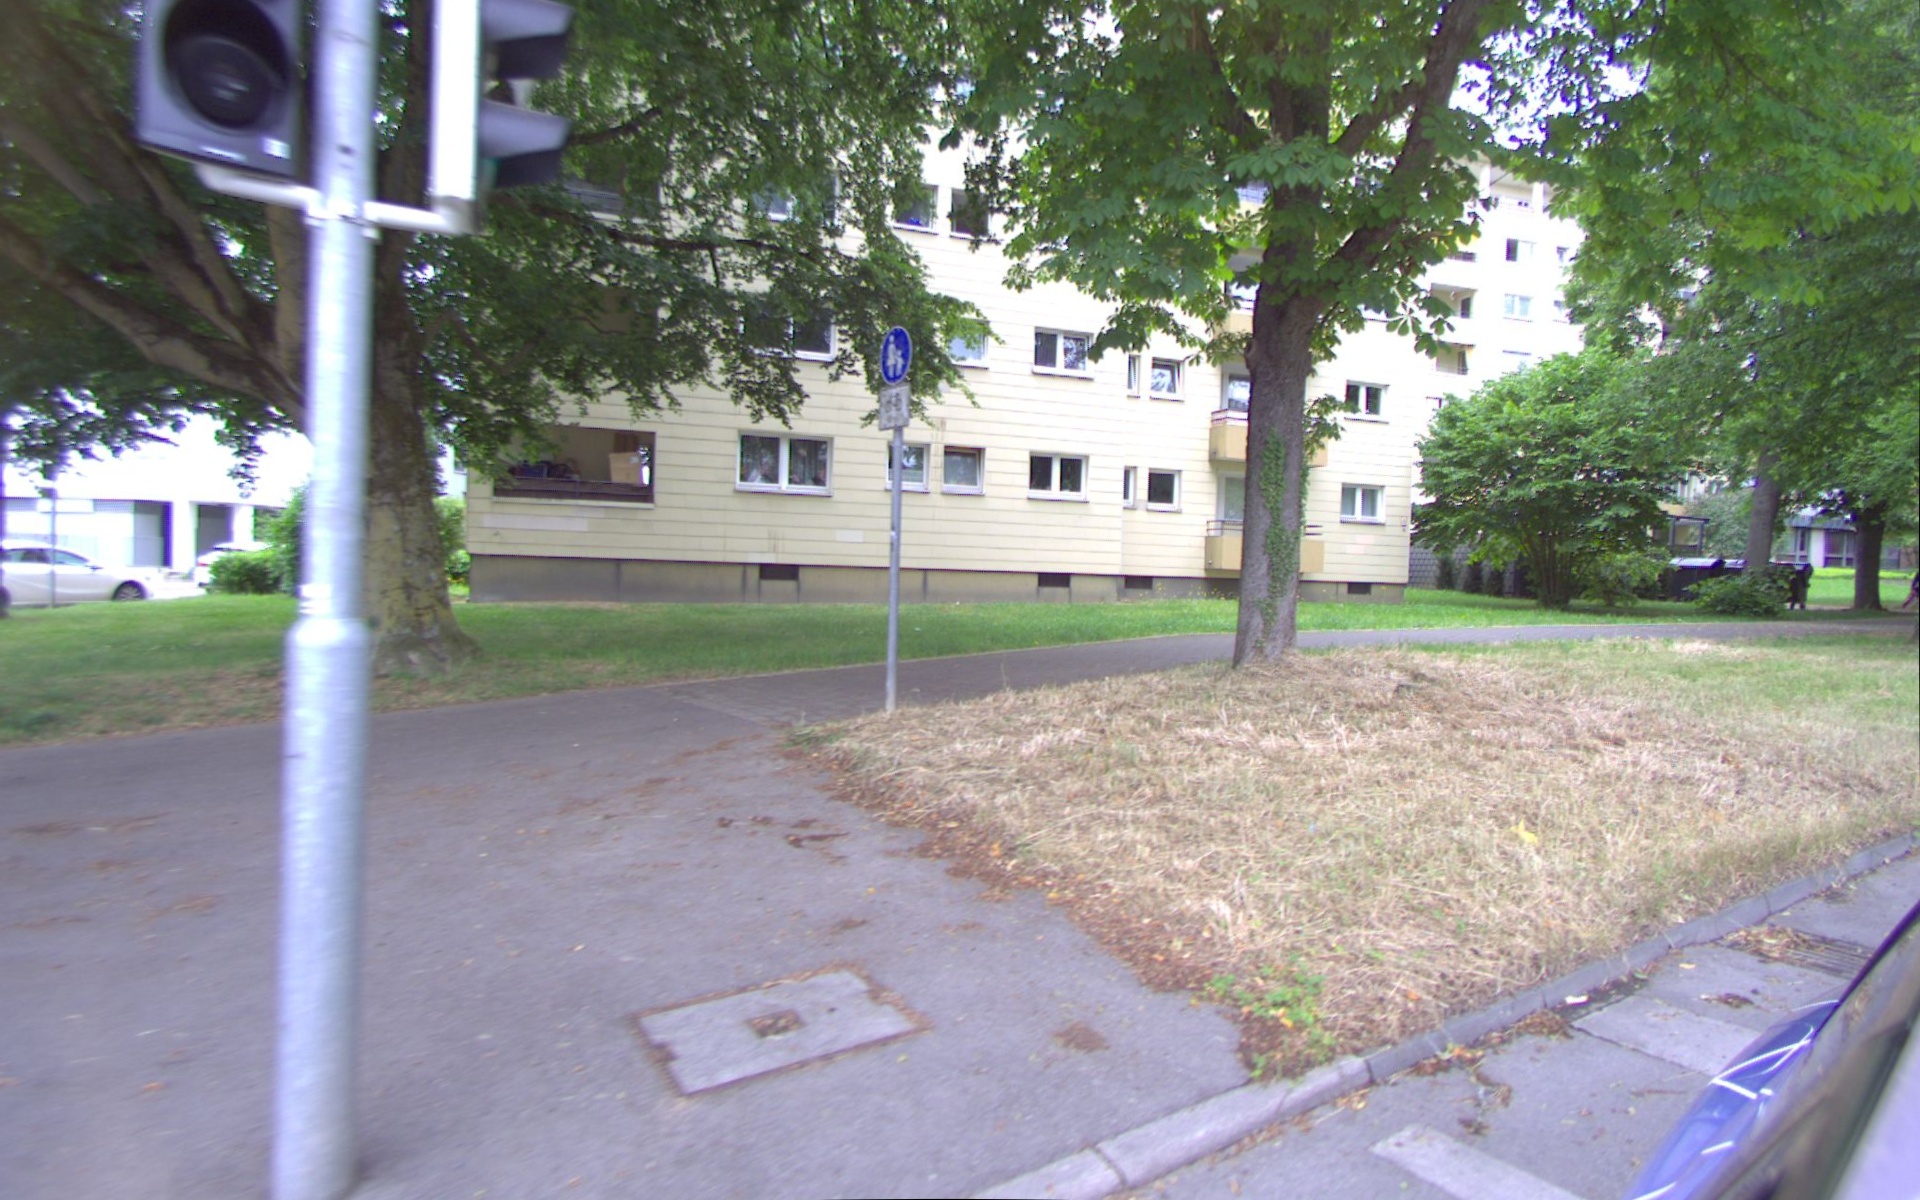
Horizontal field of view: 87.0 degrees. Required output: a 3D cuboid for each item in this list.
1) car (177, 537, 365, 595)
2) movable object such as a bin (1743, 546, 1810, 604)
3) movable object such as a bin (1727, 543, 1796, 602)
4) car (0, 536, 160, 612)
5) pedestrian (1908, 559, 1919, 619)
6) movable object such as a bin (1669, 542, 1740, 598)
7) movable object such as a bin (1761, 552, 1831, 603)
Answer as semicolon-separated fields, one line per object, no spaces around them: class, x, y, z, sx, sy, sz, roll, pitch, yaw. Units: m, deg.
car;-18.244;-0.953;27.048;1.768;1.371;4.058;2;3;13
movable object such as a bin;24.797;-0.777;30.748;1.055;1.661;1.241;-2;5;-35
movable object such as a bin;23.799;-0.833;30.057;1.001;1.661;1.279;-2;5;-35
car;-19.328;-0.573;21.024;1.768;1.451;4.058;2;3;13
pedestrian;22.780;-0.264;23.710;0.594;1.398;0.690;-1;3;-35
movable object such as a bin;22.964;-0.946;31.241;1.001;1.661;1.437;-2;5;-35
movable object such as a bin;25.932;-0.722;31.410;1.179;1.492;1.330;-2;5;-35
